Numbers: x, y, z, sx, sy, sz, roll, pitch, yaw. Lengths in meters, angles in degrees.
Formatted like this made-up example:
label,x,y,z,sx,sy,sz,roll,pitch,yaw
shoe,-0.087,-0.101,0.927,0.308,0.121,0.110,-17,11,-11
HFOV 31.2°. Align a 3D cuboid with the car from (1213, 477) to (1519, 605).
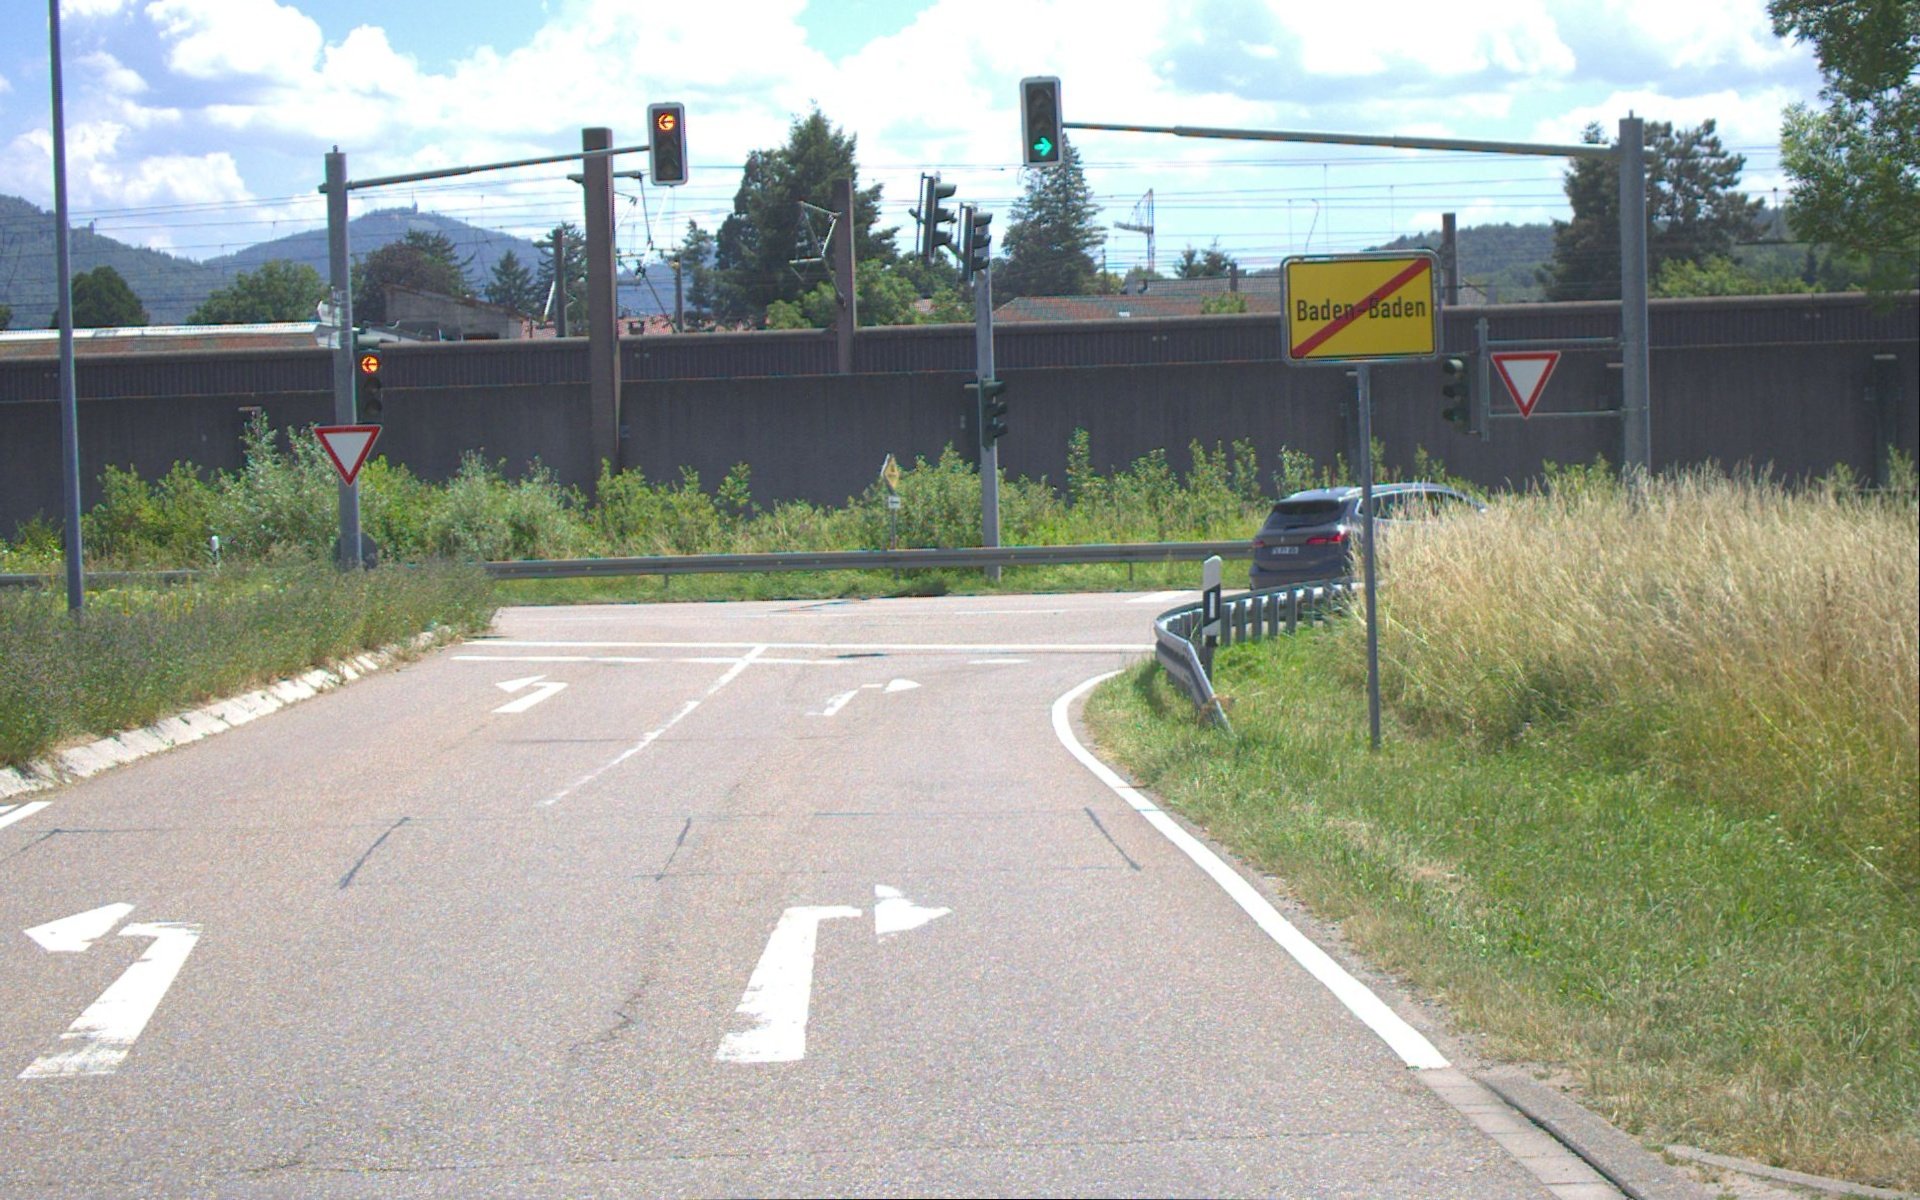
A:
label,x,y,z,sx,sy,sz,roll,pitch,yaw
car,5.148,-0.780,43.259,1.998,1.497,3.991,2,3,39
